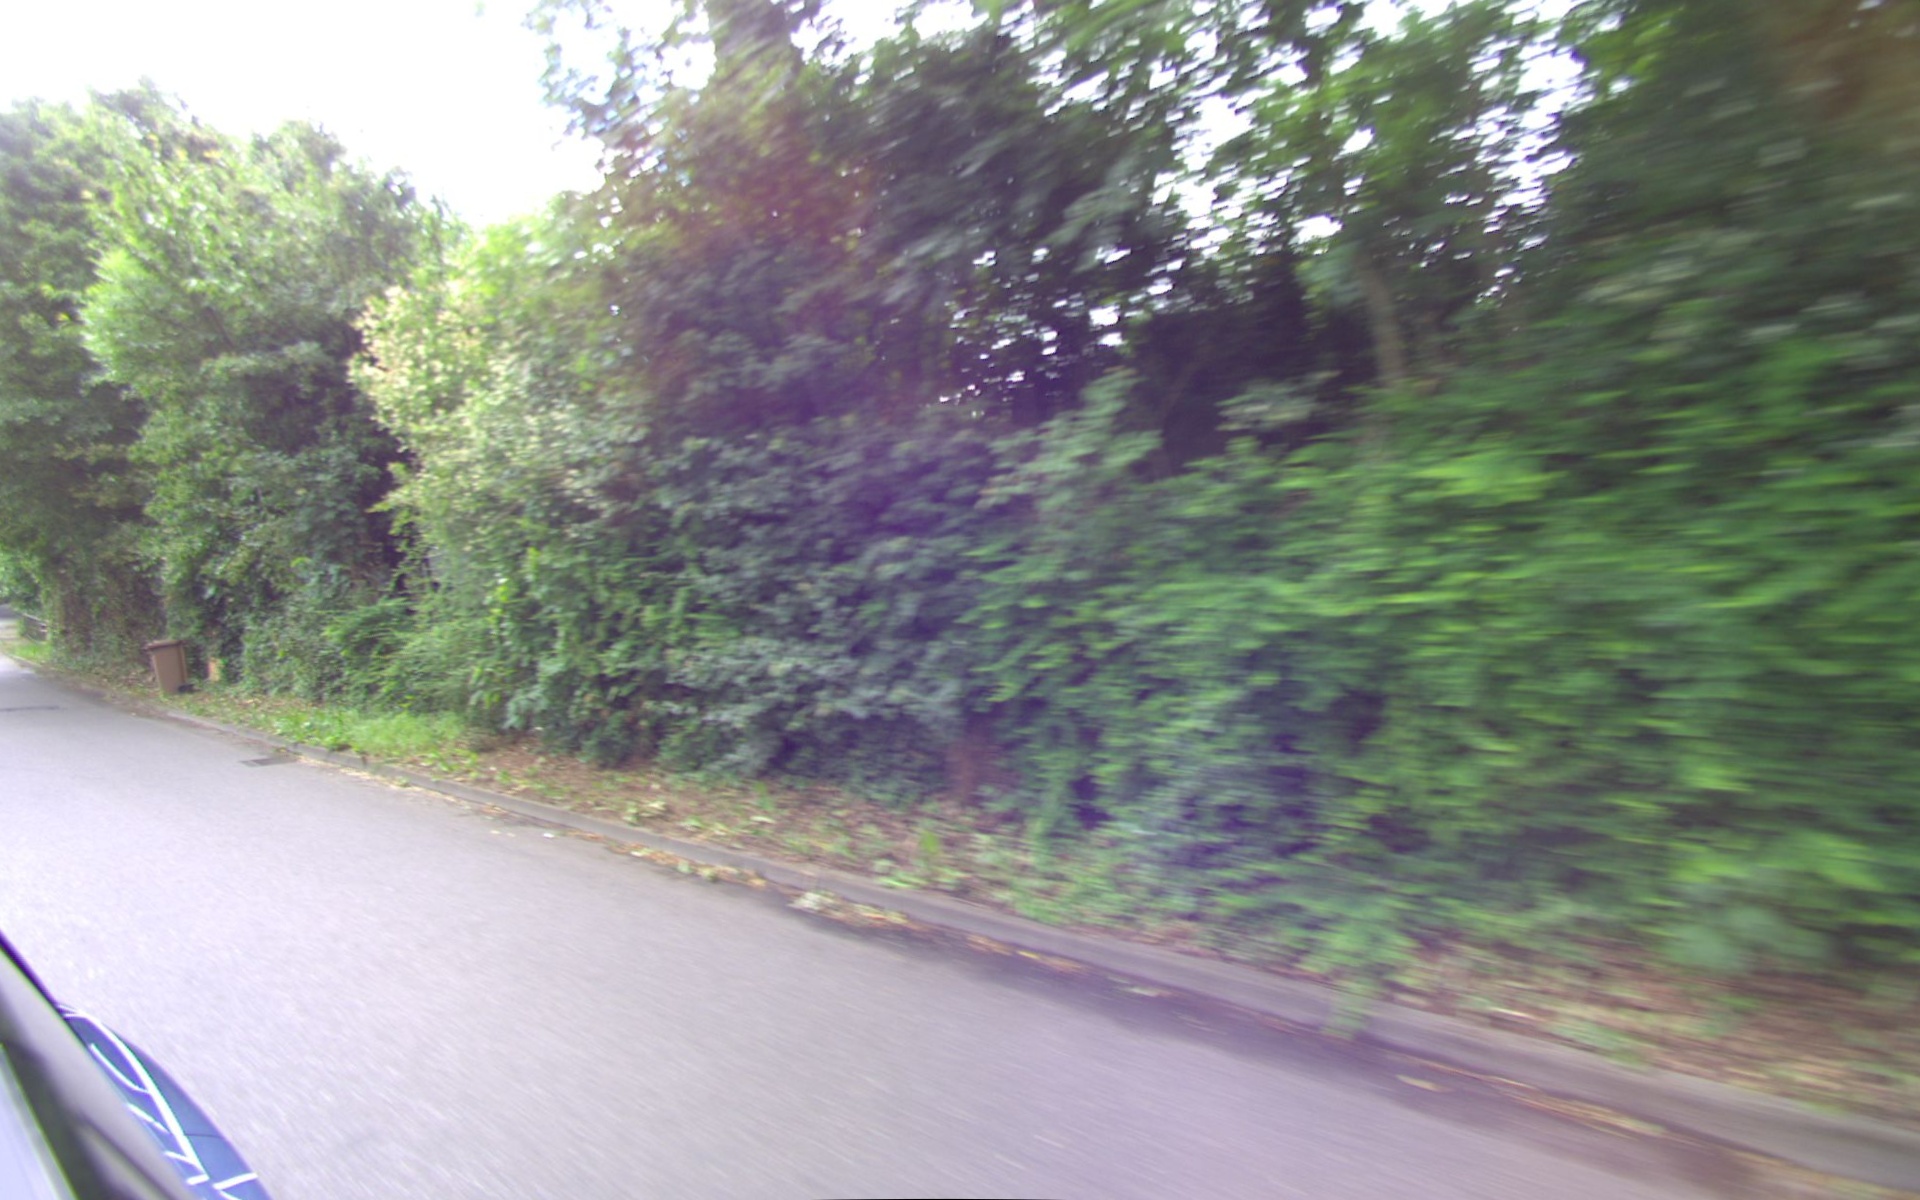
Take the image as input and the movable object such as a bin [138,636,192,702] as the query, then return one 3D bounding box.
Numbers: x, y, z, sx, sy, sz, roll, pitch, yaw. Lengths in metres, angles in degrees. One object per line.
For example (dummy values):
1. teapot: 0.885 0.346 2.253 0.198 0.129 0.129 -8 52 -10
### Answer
1. movable object such as a bin: -12.867 1.104 16.395 0.640 1.020 0.634 0 0 -33
